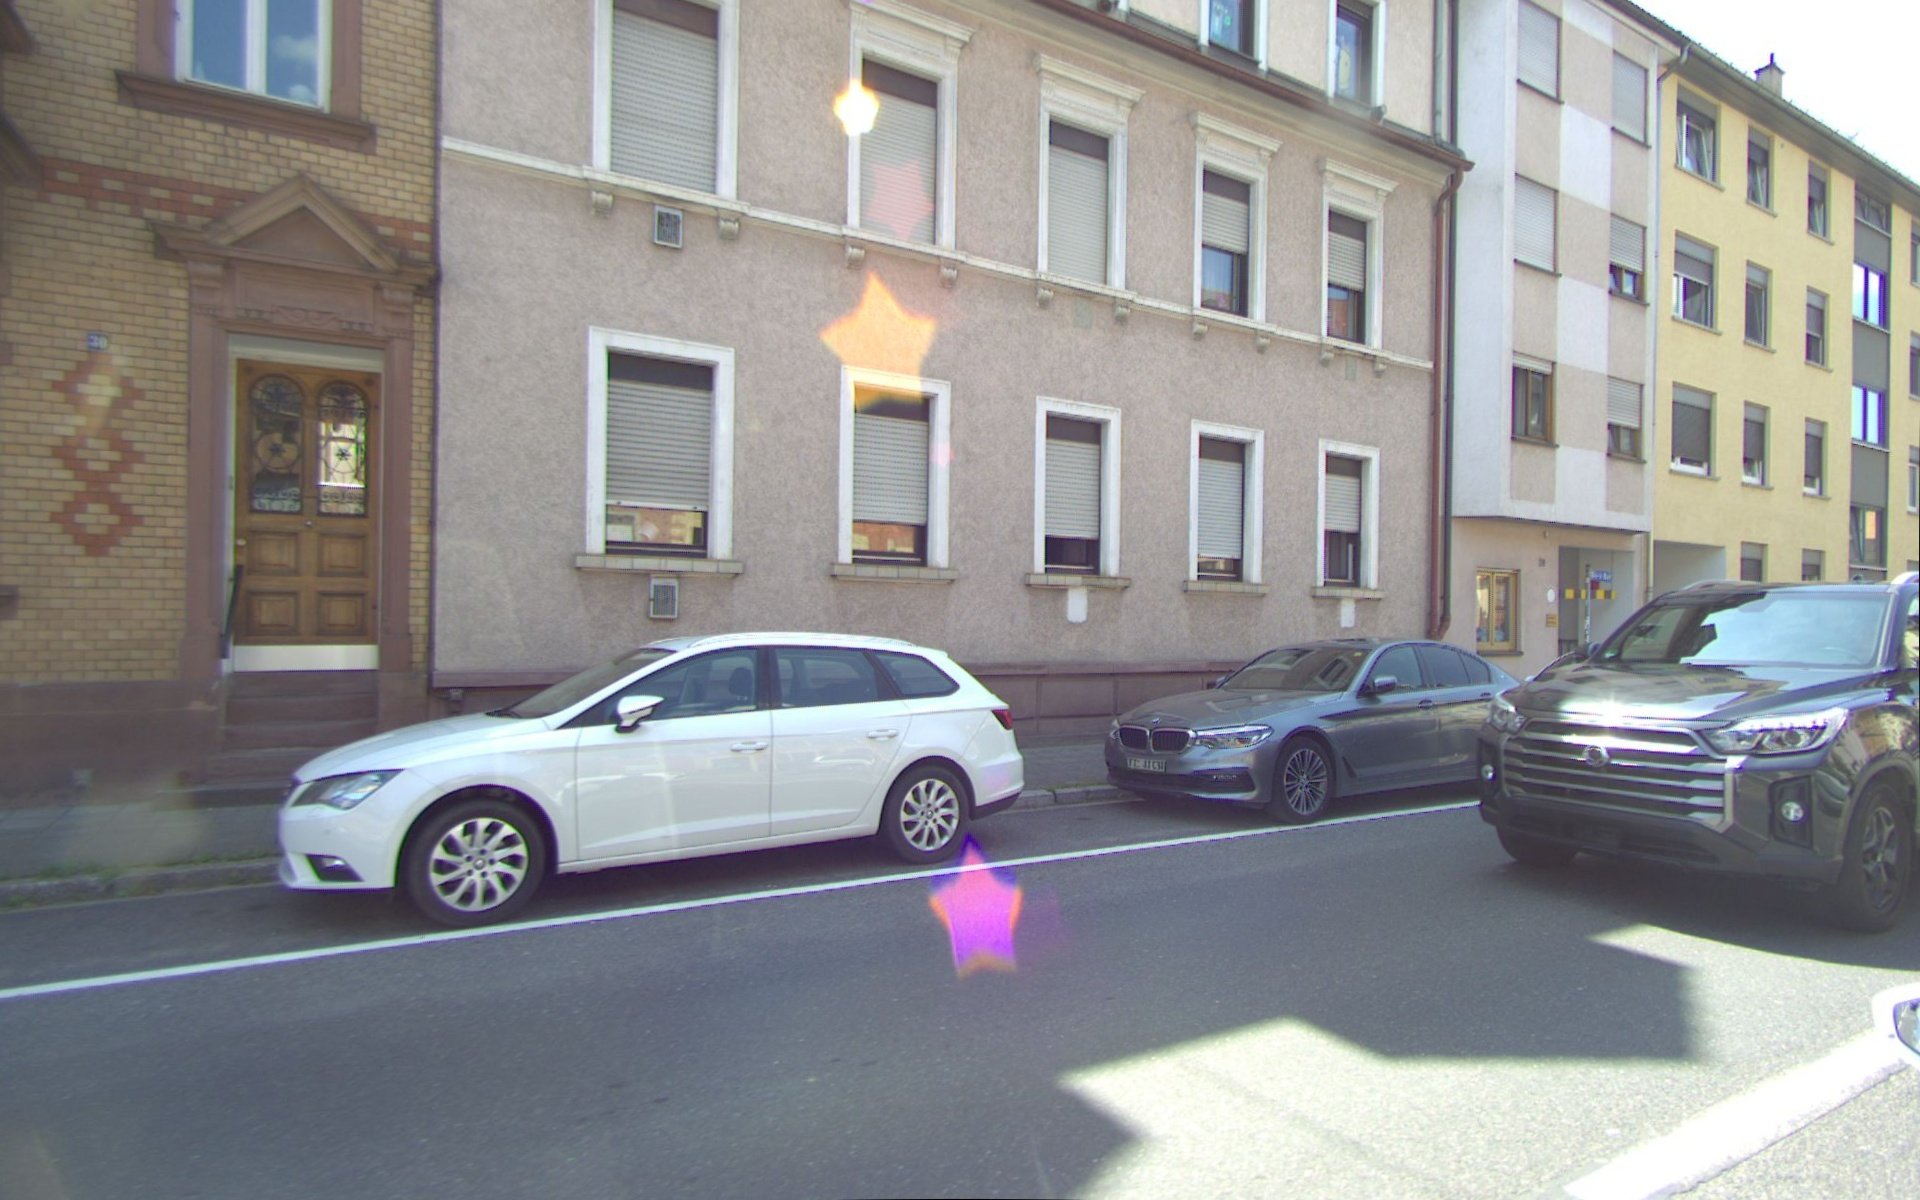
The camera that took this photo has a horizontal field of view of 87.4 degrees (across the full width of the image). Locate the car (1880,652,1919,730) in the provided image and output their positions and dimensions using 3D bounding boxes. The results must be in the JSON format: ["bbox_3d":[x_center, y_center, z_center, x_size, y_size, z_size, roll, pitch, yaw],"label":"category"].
[{"bbox_3d":[19.187,1.678,18.727,4.014,1.397,1.896,2,-3,-30],"label":"car"}]

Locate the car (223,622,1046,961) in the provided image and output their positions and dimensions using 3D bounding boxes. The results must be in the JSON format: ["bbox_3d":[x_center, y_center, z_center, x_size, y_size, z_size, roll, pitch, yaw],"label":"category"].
[{"bbox_3d":[-1.766,0.932,6.308,4.455,1.441,1.829,3,-3,-34],"label":"car"}]

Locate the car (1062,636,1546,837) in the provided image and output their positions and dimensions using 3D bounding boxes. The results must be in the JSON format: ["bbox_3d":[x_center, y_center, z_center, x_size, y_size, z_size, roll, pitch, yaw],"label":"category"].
[{"bbox_3d":[3.292,1.101,9.272,4.597,1.441,1.829,3,-3,-34],"label":"car"}]

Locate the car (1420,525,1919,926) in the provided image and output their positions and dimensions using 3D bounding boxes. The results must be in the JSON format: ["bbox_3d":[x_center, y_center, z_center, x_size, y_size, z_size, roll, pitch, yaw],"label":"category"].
[{"bbox_3d":[5.579,0.654,6.685,5.086,1.816,1.985,2,-2,-29],"label":"car"}]

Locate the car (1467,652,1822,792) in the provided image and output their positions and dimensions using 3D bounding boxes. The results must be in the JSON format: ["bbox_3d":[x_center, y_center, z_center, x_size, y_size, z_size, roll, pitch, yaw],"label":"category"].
[{"bbox_3d":[8.430,1.386,12.291,4.505,1.441,1.831,2,-4,-30],"label":"car"}]

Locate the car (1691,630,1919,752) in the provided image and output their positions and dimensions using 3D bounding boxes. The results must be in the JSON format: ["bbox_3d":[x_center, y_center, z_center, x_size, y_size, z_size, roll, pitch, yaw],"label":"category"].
[{"bbox_3d":[13.754,1.324,15.199,4.480,1.659,1.906,1,-3,-14],"label":"car"}]
